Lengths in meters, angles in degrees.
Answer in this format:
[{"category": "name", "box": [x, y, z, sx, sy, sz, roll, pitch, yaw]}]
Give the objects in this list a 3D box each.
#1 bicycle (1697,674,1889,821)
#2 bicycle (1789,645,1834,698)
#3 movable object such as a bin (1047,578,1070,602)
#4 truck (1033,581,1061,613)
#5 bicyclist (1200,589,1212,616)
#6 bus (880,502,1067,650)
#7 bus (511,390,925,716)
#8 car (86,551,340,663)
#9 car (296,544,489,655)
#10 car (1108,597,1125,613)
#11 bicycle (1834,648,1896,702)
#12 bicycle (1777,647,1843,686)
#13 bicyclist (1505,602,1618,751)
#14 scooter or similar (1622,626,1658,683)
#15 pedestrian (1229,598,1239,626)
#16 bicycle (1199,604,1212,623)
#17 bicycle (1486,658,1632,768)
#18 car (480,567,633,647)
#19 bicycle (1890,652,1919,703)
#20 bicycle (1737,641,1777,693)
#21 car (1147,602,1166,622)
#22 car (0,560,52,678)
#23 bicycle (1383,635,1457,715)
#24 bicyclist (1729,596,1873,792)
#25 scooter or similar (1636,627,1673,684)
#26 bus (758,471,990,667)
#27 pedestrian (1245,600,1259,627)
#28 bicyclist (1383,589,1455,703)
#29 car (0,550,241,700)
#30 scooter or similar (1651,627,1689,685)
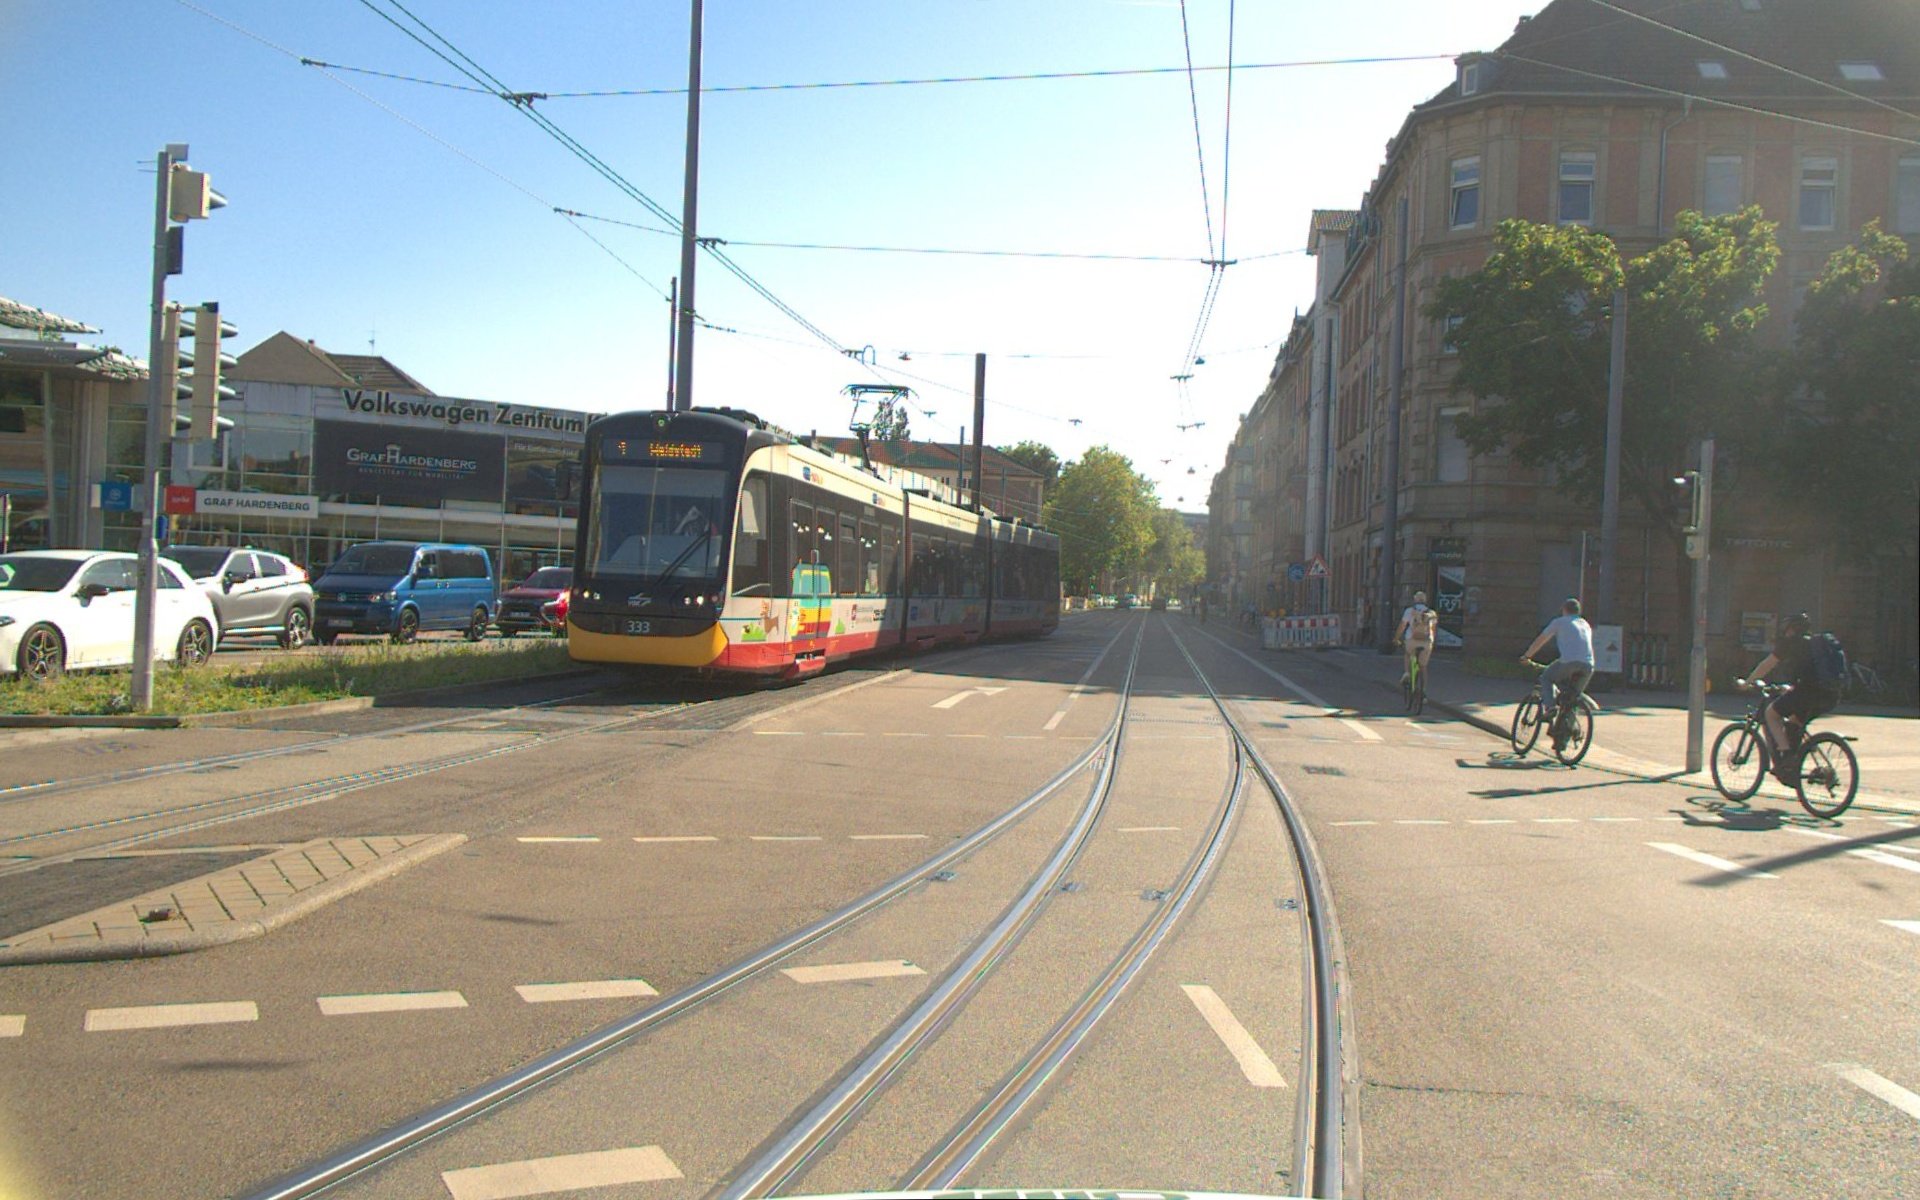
[{"category": "bicycle", "box": [7.414, 1.278, 14.825, 0.521, 1.137, 1.930, 3, -1, -7]}, {"category": "bicycle", "box": [18.613, 1.544, 36.172, 0.394, 1.079, 1.353, 4, 0, 7]}, {"category": "movable object such as a bin", "box": [11.624, -1.167, 194.451, 2.443, 2.691, 5.992, 4, 0, 4]}, {"category": "truck", "box": [8.589, -0.270, 163.670, 2.485, 2.879, 6.378, 4, 0, 3]}, {"category": "bicyclist", "box": [16.048, 0.157, 107.955, 0.653, 1.726, 1.044, 4, 0, 6]}, {"category": "bus", "box": [0.673, -0.616, 47.801, 2.781, 3.652, 11.279, 3, 0, 13]}, {"category": "bus", "box": [-2.983, -0.581, 25.979, 2.781, 3.652, 13.506, 3, 0, 7]}, {"category": "car", "box": [-11.945, 0.119, 26.774, 1.764, 1.606, 4.168, 2, 0, 7]}, {"category": "car", "box": [-10.978, 0.008, 32.332, 1.764, 1.967, 4.168, 2, 0, 9]}, {"category": "car", "box": [18.311, 0.641, 193.042, 1.722, 1.726, 4.147, 4, 0, 8]}, {"category": "bicycle", "box": [19.679, 1.623, 36.003, 0.396, 1.079, 1.350, 4, 0, -8]}, {"category": "bicycle", "box": [21.614, 1.686, 42.058, 1.388, 0.871, 0.405, 4, 0, 14]}, {"category": "bicyclist", "box": [6.860, 0.860, 18.887, 0.771, 1.621, 0.880, 2, 0, -20]}, {"category": "scooter or similar", "box": [14.932, 1.186, 36.356, 0.264, 1.205, 1.566, 4, 0, 7]}, {"category": "pedestrian", "box": [17.286, 0.765, 104.363, 0.541, 1.730, 0.474, 1, -1, 13]}, {"category": "bicycle", "box": [16.037, 0.873, 108.245, 0.666, 1.133, 2.709, 4, 0, 6]}, {"category": "bicycle", "box": [6.820, 1.260, 18.926, 0.380, 1.087, 1.922, 2, 1, -21]}, {"category": "car", "box": [-9.602, 0.175, 39.730, 1.761, 1.749, 4.420, 2, 0, 12]}, {"category": "bicycle", "box": [21.059, 1.717, 36.370, 0.395, 1.079, 1.462, 4, 0, 3]}, {"category": "bicycle", "box": [17.450, 1.451, 36.234, 0.394, 1.079, 1.484, 4, 0, 12]}, {"category": "car", "box": [22.388, 1.380, 188.120, 1.952, 2.048, 4.003, 4, 0, 7]}, {"category": "car", "box": [-13.027, 0.176, 19.691, 1.765, 1.457, 4.003, 4, 0, 7]}, {"category": "bicycle", "box": [7.188, 1.148, 25.933, 0.521, 1.137, 1.933, 4, 0, -1]}, {"category": "bicyclist", "box": [7.438, 0.805, 14.666, 0.611, 1.641, 0.980, 4, 0, -6]}, {"category": "scooter or similar", "box": [15.240, 1.210, 36.329, 0.264, 1.205, 1.566, 4, 0, 7]}, {"category": "bus", "box": [-1.574, -0.611, 37.184, 2.781, 3.652, 10.735, 3, 0, 10]}, {"category": "pedestrian", "box": [18.492, 0.848, 104.774, 0.781, 1.633, 0.653, 2, -1, 9]}, {"category": "bicyclist", "box": [7.207, 0.710, 26.010, 0.667, 1.712, 1.119, 4, 0, -3]}, {"category": "car", "box": [-10.210, 0.222, 18.542, 1.765, 1.457, 4.544, 4, 0, 7]}, {"category": "scooter or similar", "box": [15.562, 1.218, 36.283, 0.264, 1.216, 1.566, 4, 0, 7]}]
